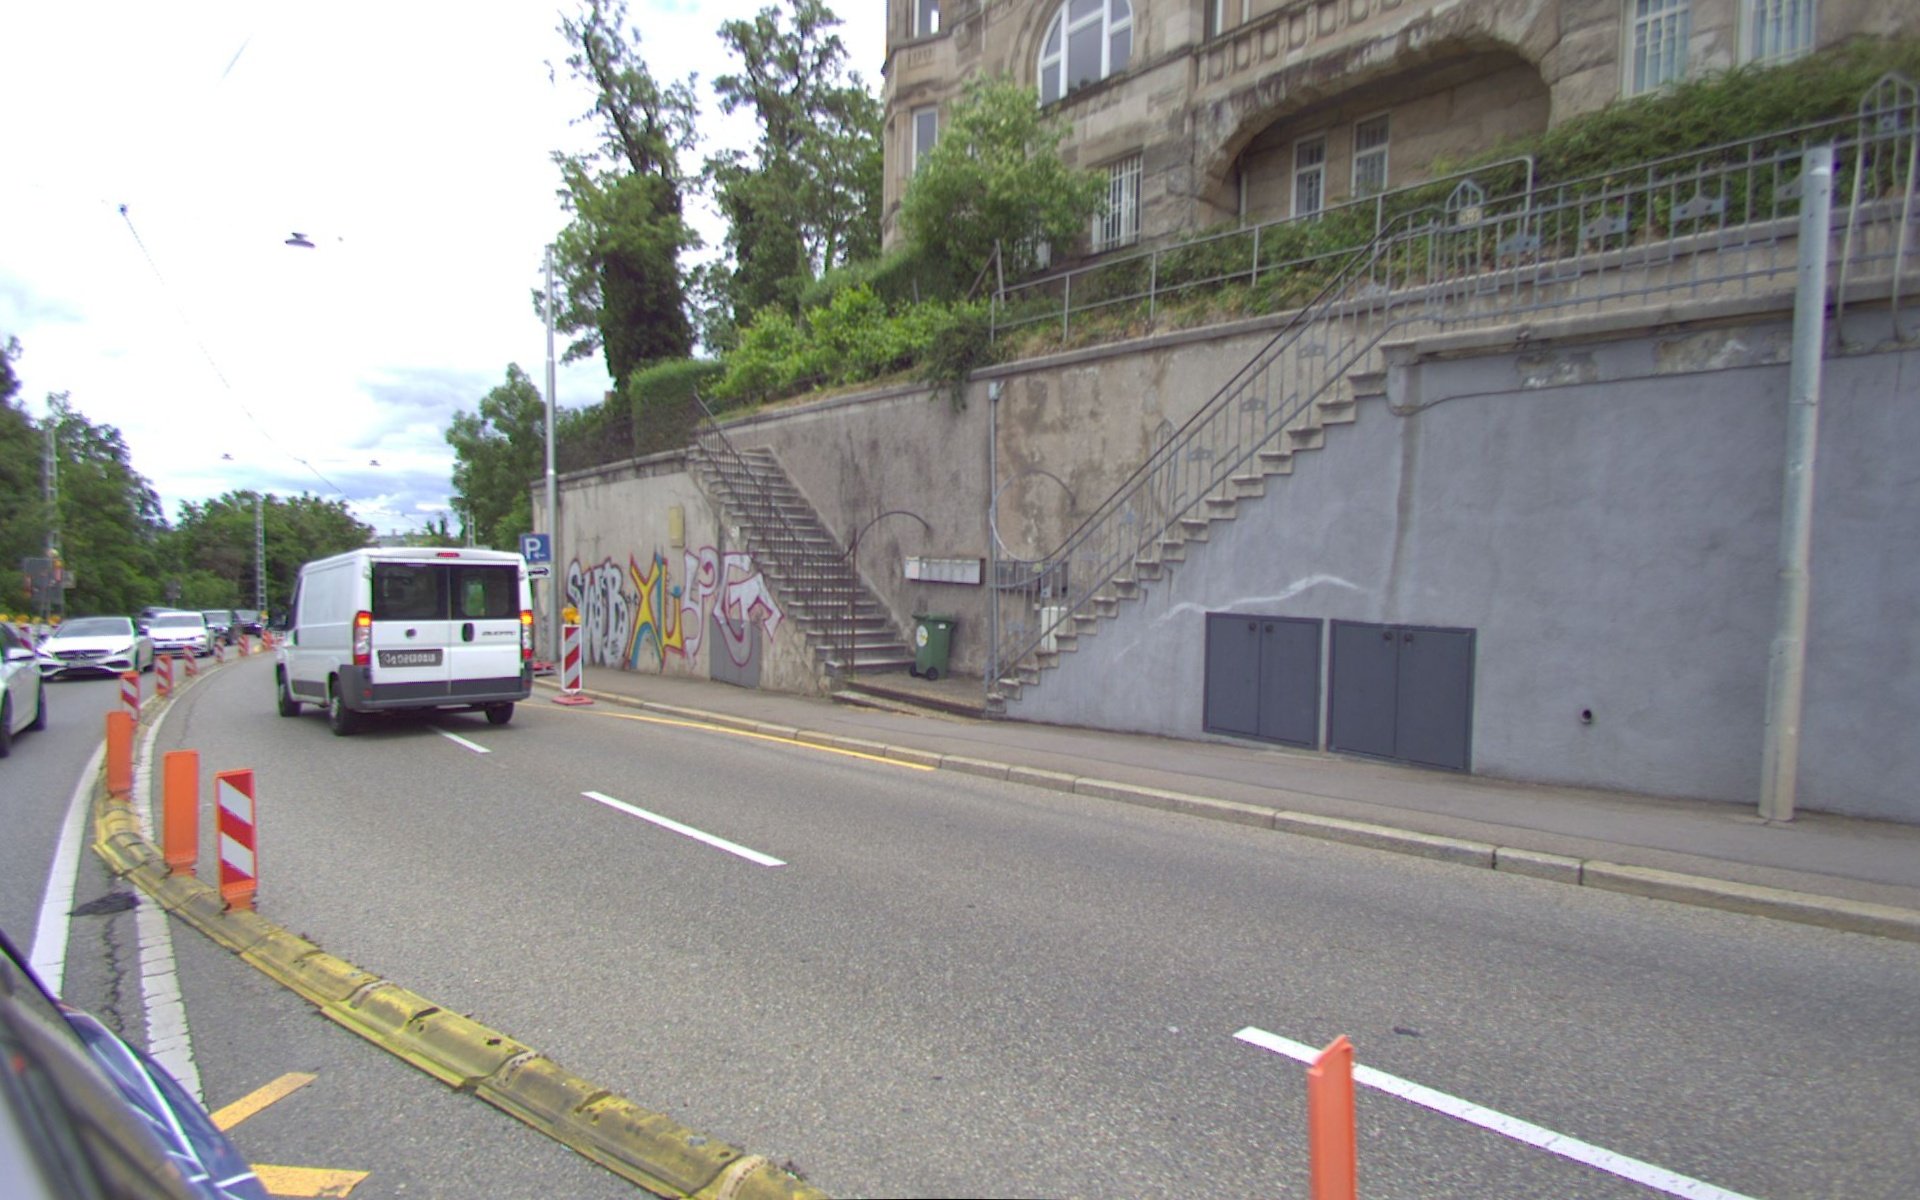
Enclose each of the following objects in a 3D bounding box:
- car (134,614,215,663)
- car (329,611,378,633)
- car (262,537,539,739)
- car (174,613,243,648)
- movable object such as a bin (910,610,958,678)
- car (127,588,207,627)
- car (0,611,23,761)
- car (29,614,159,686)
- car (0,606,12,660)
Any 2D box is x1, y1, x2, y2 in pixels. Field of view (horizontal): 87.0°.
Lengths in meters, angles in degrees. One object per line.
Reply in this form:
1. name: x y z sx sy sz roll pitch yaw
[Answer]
1. car: -26.923 1.275 34.811 1.763 1.563 4.257 -1 -1 -32
2. car: -43.554 1.577 72.756 1.764 1.492 4.255 -1 -1 -13
3. car: -7.664 0.478 13.611 2.043 2.204 4.966 2 -2 -44
4. car: -34.713 1.400 46.870 1.769 1.522 4.013 2 -1 -25
5. movable object such as a bin: -0.372 0.607 14.212 0.447 0.918 0.509 -1 0 -37
6. car: -39.380 0.381 50.380 1.827 1.686 4.293 6 -3 -21
7. car: -11.362 0.883 10.822 1.765 1.491 4.251 -1 0 -41
8. car: -20.478 1.104 24.106 1.763 1.491 4.256 -1 0 -33
9. car: -30.016 0.948 30.006 1.836 1.687 4.659 5 -4 -33
